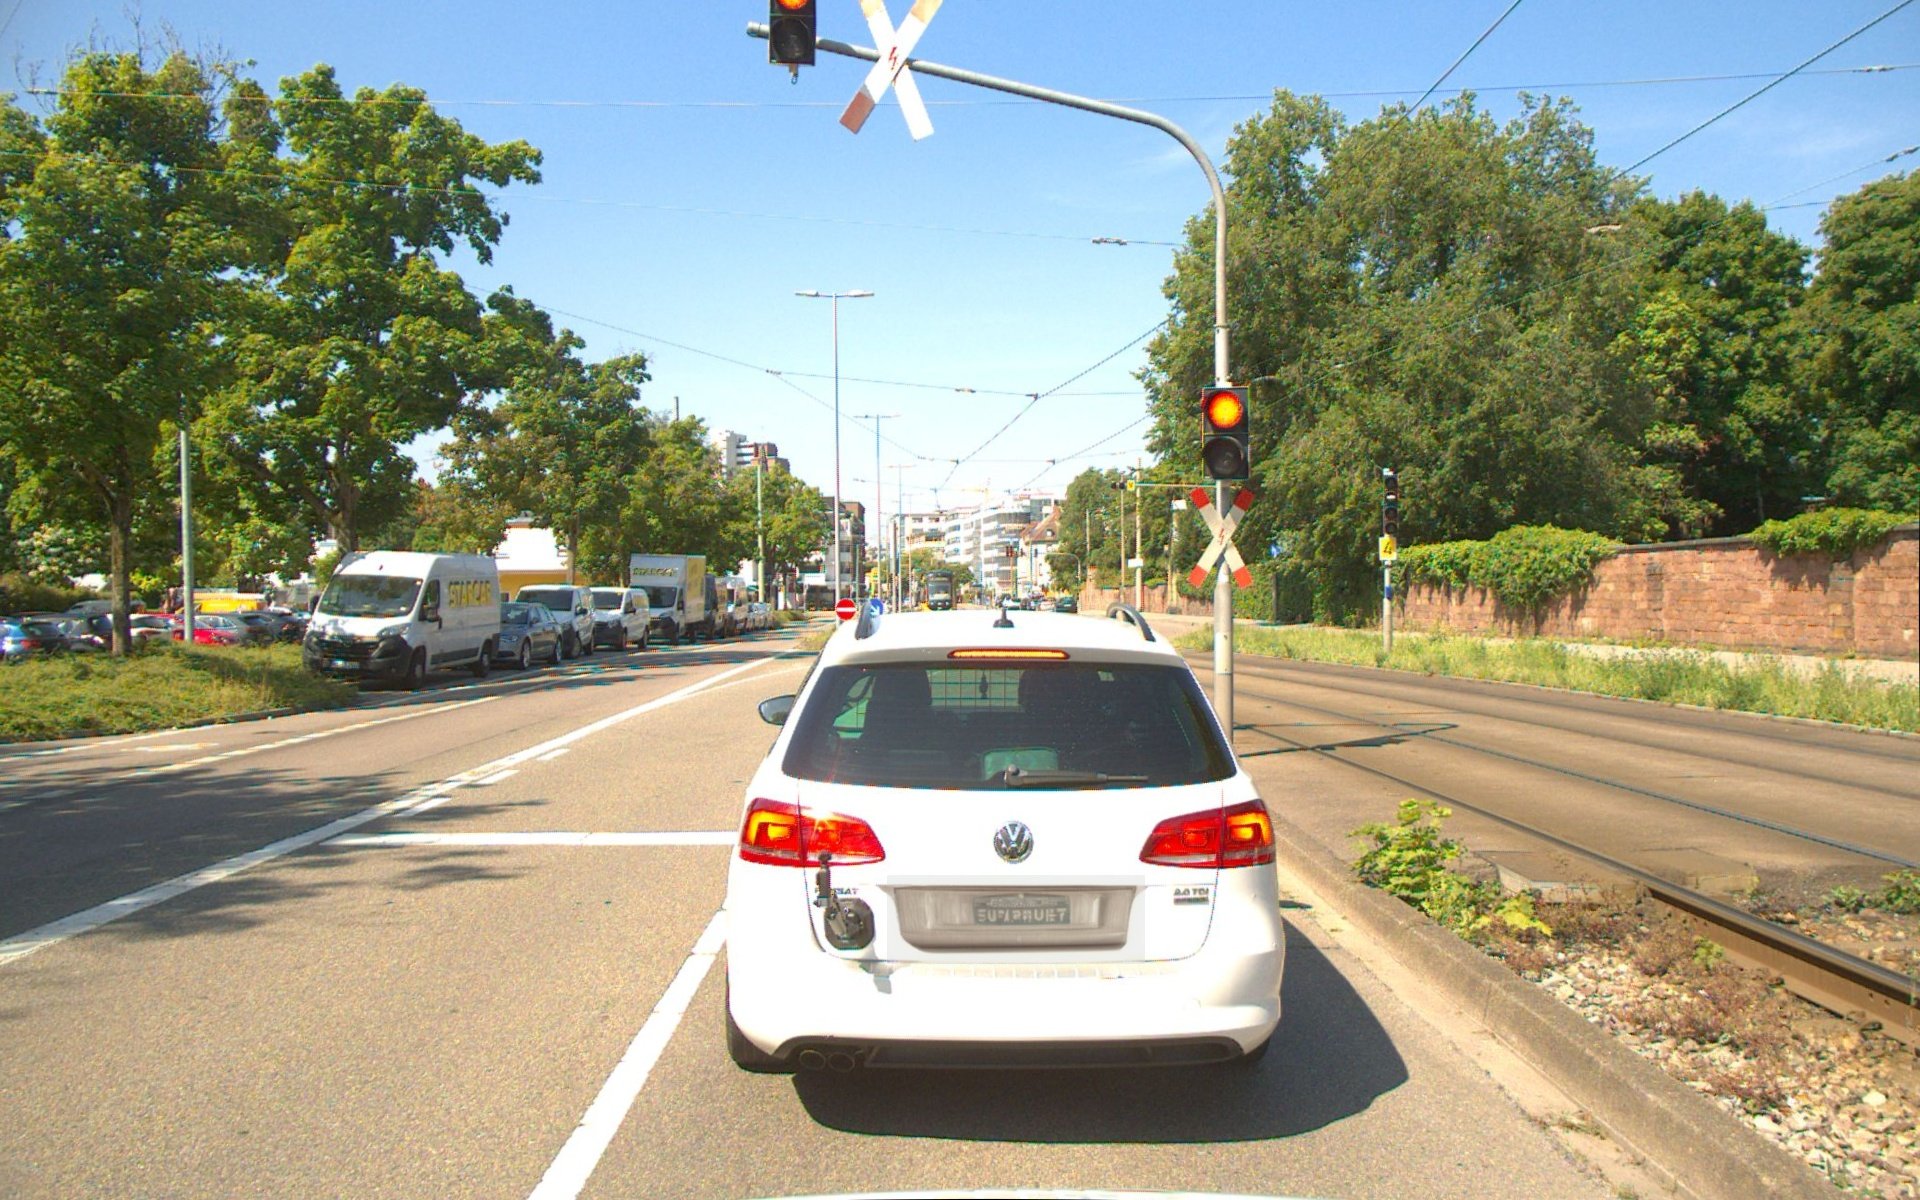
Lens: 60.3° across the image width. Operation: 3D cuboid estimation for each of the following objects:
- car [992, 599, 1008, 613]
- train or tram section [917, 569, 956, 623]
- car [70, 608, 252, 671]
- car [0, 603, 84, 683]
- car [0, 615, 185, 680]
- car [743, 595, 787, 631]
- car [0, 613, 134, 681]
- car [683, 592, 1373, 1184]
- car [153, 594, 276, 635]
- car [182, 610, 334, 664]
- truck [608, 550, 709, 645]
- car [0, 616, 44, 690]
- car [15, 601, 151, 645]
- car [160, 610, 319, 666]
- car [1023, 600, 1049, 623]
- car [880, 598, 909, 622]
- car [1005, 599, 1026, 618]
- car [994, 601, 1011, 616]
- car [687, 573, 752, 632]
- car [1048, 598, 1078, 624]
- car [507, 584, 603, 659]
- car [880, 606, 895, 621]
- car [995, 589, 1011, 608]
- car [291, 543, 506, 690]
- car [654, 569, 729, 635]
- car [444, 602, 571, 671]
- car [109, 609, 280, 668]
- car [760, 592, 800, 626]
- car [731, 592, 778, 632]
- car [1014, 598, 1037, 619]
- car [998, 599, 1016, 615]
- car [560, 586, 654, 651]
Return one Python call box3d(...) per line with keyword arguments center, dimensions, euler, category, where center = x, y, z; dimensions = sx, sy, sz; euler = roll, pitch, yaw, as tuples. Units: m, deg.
box3d(center=(5.509, 0.838, 227.091), dimensions=(1.826, 1.900, 5.060), euler=(1, 0, -2), category="car")
box3d(center=(-1.825, -0.352, 127.778), dimensions=(2.812, 3.923, 12.389), euler=(-1, 0, -1), category="train or tram section")
box3d(center=(-21.104, 1.027, 43.796), dimensions=(3.909, 1.440, 1.728), euler=(-2, 0, -5), category="car")
box3d(center=(-21.072, 0.965, 35.130), dimensions=(3.909, 1.638, 1.728), euler=(-2, 0, -5), category="car")
box3d(center=(-21.727, 1.170, 41.254), dimensions=(3.909, 1.440, 1.728), euler=(-2, 0, -5), category="car")
box3d(center=(-10.751, 0.693, 91.519), dimensions=(1.826, 1.900, 5.412), euler=(1, 0, -1), category="car")
box3d(center=(-21.643, 1.118, 38.488), dimensions=(3.909, 1.440, 1.728), euler=(-2, 0, -5), category="car")
box3d(center=(0.148, 0.720, 6.204), dimensions=(1.726, 1.455, 3.999), euler=(-1, 0, -1), category="car")
box3d(center=(-34.455, 0.668, 76.513), dimensions=(4.698, 1.819, 2.062), euler=(1, 0, -5), category="car")
box3d(center=(-21.703, 1.131, 51.232), dimensions=(3.909, 1.440, 1.728), euler=(-2, 0, -5), category="car")
box3d(center=(-10.857, -0.108, 60.161), dimensions=(2.371, 3.205, 6.996), euler=(1, 0, 0), category="truck")
box3d(center=(-20.728, 1.125, 32.936), dimensions=(3.909, 1.440, 1.728), euler=(-2, 0, -5), category="car")
box3d(center=(-37.804, 0.986, 71.390), dimensions=(4.698, 1.819, 2.062), euler=(1, 0, -5), category="car")
box3d(center=(-21.270, 1.105, 48.942), dimensions=(3.909, 1.440, 1.728), euler=(-2, 0, -5), category="car")
box3d(center=(6.526, 0.972, 141.620), dimensions=(1.826, 1.900, 5.060), euler=(1, 0, -2), category="car")
box3d(center=(-4.421, 0.671, 112.136), dimensions=(1.670, 1.499, 4.589), euler=(-1, 0, 0), category="car")
box3d(center=(5.842, 0.887, 174.347), dimensions=(1.826, 1.900, 5.060), euler=(1, 0, -2), category="car")
box3d(center=(5.388, 1.082, 210.700), dimensions=(1.826, 1.900, 5.060), euler=(1, 0, -2), category="car")
box3d(center=(-10.949, 0.102, 75.595), dimensions=(2.079, 2.560, 5.733), euler=(1, 0, 0), category="car")
box3d(center=(7.847, 0.851, 126.356), dimensions=(1.826, 1.900, 5.060), euler=(1, 0, -2), category="car")
box3d(center=(-10.972, 0.534, 45.152), dimensions=(1.827, 1.900, 5.068), euler=(1, 0, -6), category="car")
box3d(center=(-9.429, 1.696, 214.507), dimensions=(1.726, 1.929, 4.913), euler=(1, 0, -1), category="car")
box3d(center=(6.489, -0.266, 251.102), dimensions=(2.015, 2.807, 5.630), euler=(1, 0, -2), category="car")
box3d(center=(-10.741, 0.278, 32.182), dimensions=(2.079, 2.560, 5.817), euler=(1, 0, 1), category="car")
box3d(center=(-11.002, 0.067, 68.158), dimensions=(2.079, 2.560, 5.733), euler=(1, 0, 0), category="car")
box3d(center=(-10.464, 0.806, 38.559), dimensions=(1.826, 1.440, 4.278), euler=(1, 0, -1), category="car")
box3d(center=(-21.283, 1.060, 46.124), dimensions=(3.909, 1.440, 1.728), euler=(-2, 0, -5), category="car")
box3d(center=(-10.693, 0.500, 98.437), dimensions=(1.826, 1.900, 5.412), euler=(1, 0, -1), category="car")
box3d(center=(-10.482, 0.584, 84.709), dimensions=(1.826, 1.900, 5.412), euler=(1, 0, -1), category="car")
box3d(center=(6.242, 0.829, 157.511), dimensions=(1.826, 1.900, 5.060), euler=(1, 0, -2), category="car")
box3d(center=(5.621, 0.837, 197.618), dimensions=(1.826, 1.900, 5.060), euler=(1, 0, -2), category="car")
box3d(center=(-10.960, 0.531, 51.736), dimensions=(1.826, 1.900, 5.412), euler=(1, 0, -1), category="car")
